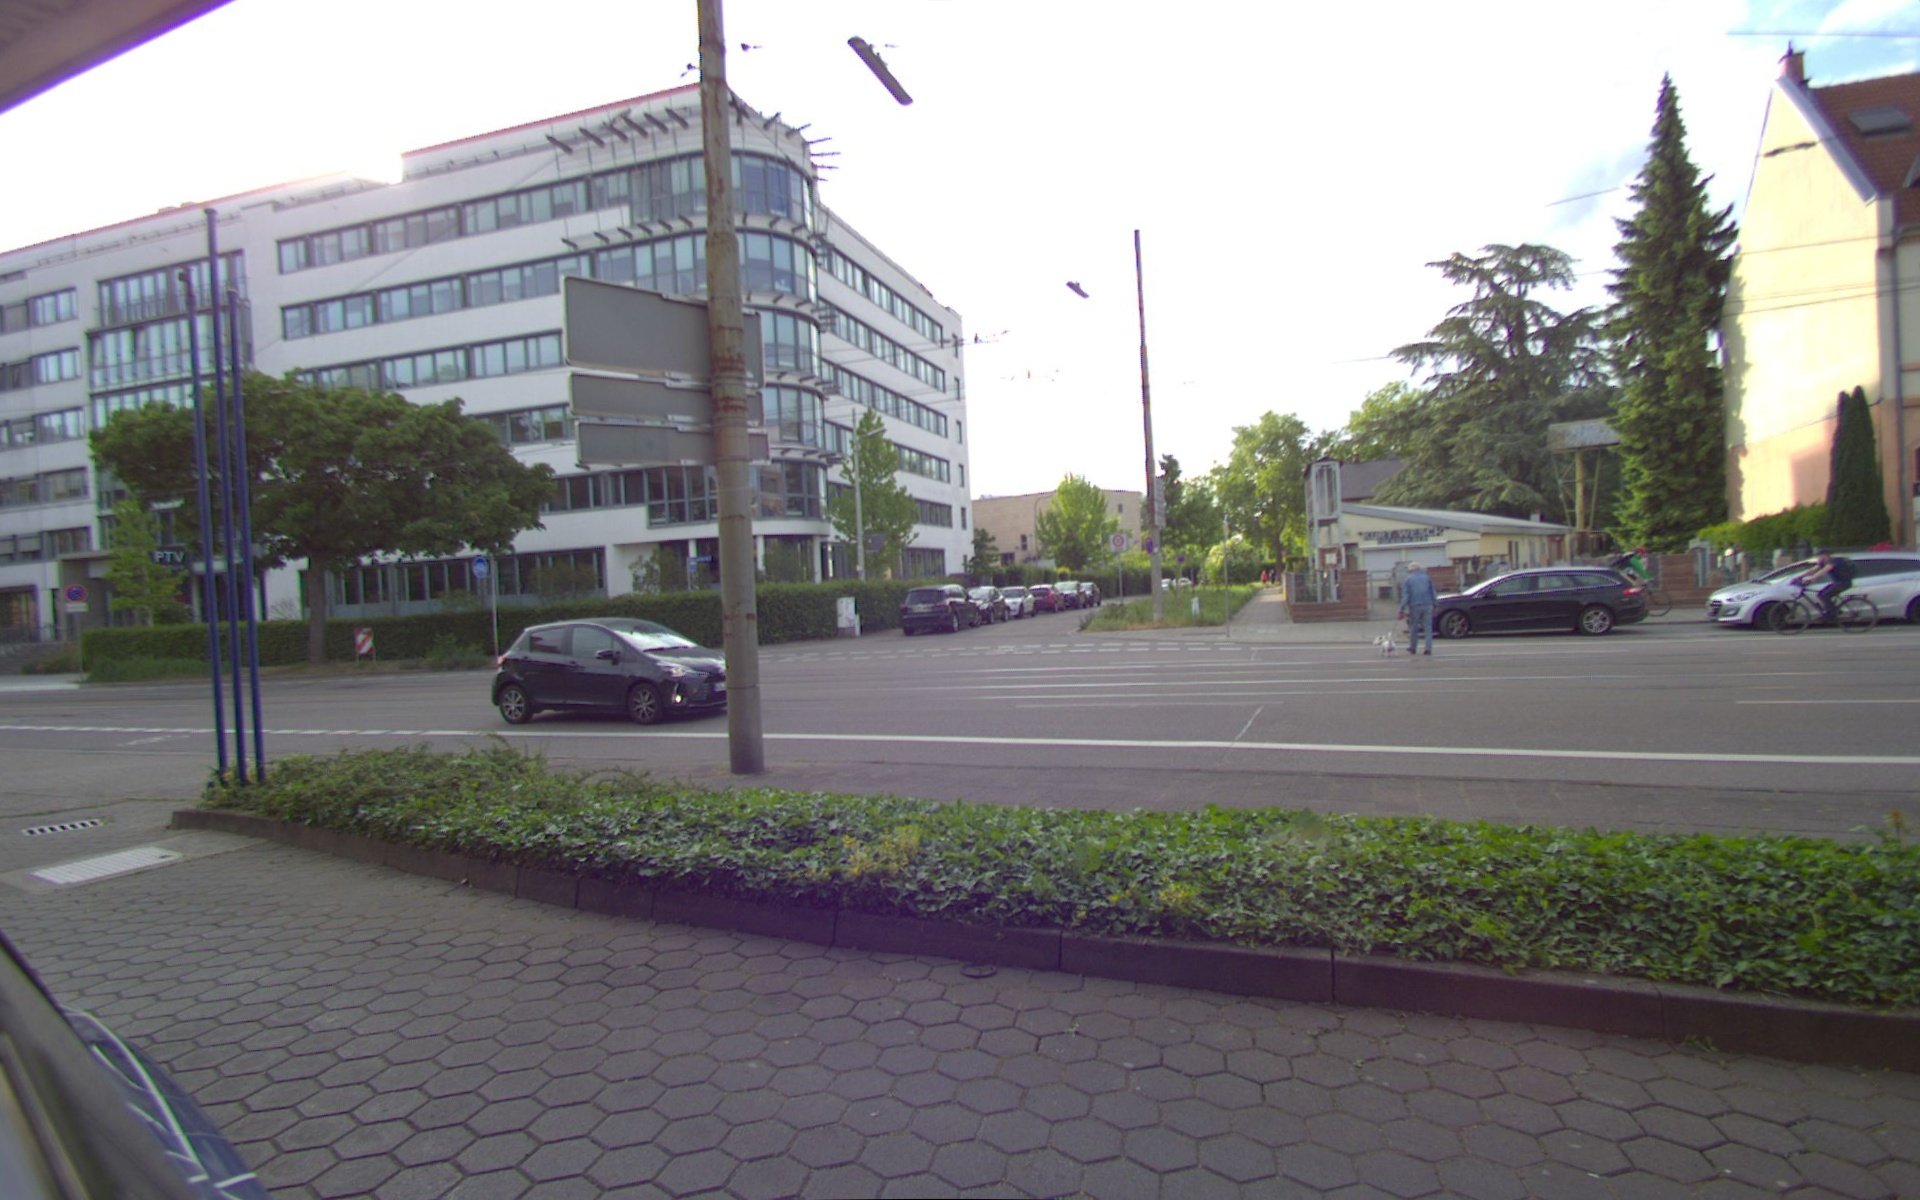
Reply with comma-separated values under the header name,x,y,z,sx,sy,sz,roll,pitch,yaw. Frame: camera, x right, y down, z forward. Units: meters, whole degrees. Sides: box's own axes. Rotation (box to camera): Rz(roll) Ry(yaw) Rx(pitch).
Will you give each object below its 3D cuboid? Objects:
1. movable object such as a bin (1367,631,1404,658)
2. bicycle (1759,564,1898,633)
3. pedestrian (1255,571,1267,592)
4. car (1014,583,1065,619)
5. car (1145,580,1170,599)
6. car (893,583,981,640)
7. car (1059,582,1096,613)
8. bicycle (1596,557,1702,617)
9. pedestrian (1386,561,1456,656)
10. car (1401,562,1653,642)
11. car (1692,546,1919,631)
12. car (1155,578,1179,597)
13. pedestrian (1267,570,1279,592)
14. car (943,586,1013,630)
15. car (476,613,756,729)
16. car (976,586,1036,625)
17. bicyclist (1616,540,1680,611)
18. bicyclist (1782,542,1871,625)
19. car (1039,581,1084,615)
name,x,y,z,sx,sy,sz,roll,pitch,yaw
movable object such as a bin,7.761,0.811,18.477,0.476,0.424,0.677,-3,0,11
bicycle,17.064,-0.020,19.943,1.902,1.231,0.677,-3,-1,16
pedestrian,27.167,-1.641,91.234,0.899,1.865,0.942,-3,-1,19
car,4.177,0.017,52.490,1.929,1.650,4.274,-3,0,13
car,19.703,-1.084,100.789,1.849,1.748,4.247,-3,0,19
car,-0.726,0.353,35.414,1.994,1.704,4.274,-3,1,13
car,7.291,-0.164,62.493,1.731,1.748,4.030,-3,0,13
bicycle,16.650,-0.328,24.513,1.903,1.320,0.862,-2,3,18
pedestrian,8.514,0.153,18.692,1.000,1.680,0.960,-3,0,32
car,12.911,0.045,23.441,4.742,1.511,2.001,-3,1,21
car,18.422,-0.255,21.379,4.424,1.494,1.713,-3,1,21
car,21.695,-1.334,106.159,1.849,1.748,4.246,-3,0,19
pedestrian,28.130,-1.700,90.942,0.899,1.865,0.942,-3,-1,19
car,0.794,0.284,40.974,1.929,1.551,4.274,-3,0,13
car,-5.177,1.070,15.253,3.787,1.482,1.678,-3,1,23
car,2.143,0.208,45.784,1.929,1.530,4.274,-3,0,13
bicyclist,16.632,-0.599,24.494,1.020,1.617,0.862,-2,3,17
bicyclist,17.056,-0.314,19.943,1.075,1.546,0.677,-3,-1,16
car,5.836,-0.155,57.719,1.929,1.748,4.512,-3,0,13
